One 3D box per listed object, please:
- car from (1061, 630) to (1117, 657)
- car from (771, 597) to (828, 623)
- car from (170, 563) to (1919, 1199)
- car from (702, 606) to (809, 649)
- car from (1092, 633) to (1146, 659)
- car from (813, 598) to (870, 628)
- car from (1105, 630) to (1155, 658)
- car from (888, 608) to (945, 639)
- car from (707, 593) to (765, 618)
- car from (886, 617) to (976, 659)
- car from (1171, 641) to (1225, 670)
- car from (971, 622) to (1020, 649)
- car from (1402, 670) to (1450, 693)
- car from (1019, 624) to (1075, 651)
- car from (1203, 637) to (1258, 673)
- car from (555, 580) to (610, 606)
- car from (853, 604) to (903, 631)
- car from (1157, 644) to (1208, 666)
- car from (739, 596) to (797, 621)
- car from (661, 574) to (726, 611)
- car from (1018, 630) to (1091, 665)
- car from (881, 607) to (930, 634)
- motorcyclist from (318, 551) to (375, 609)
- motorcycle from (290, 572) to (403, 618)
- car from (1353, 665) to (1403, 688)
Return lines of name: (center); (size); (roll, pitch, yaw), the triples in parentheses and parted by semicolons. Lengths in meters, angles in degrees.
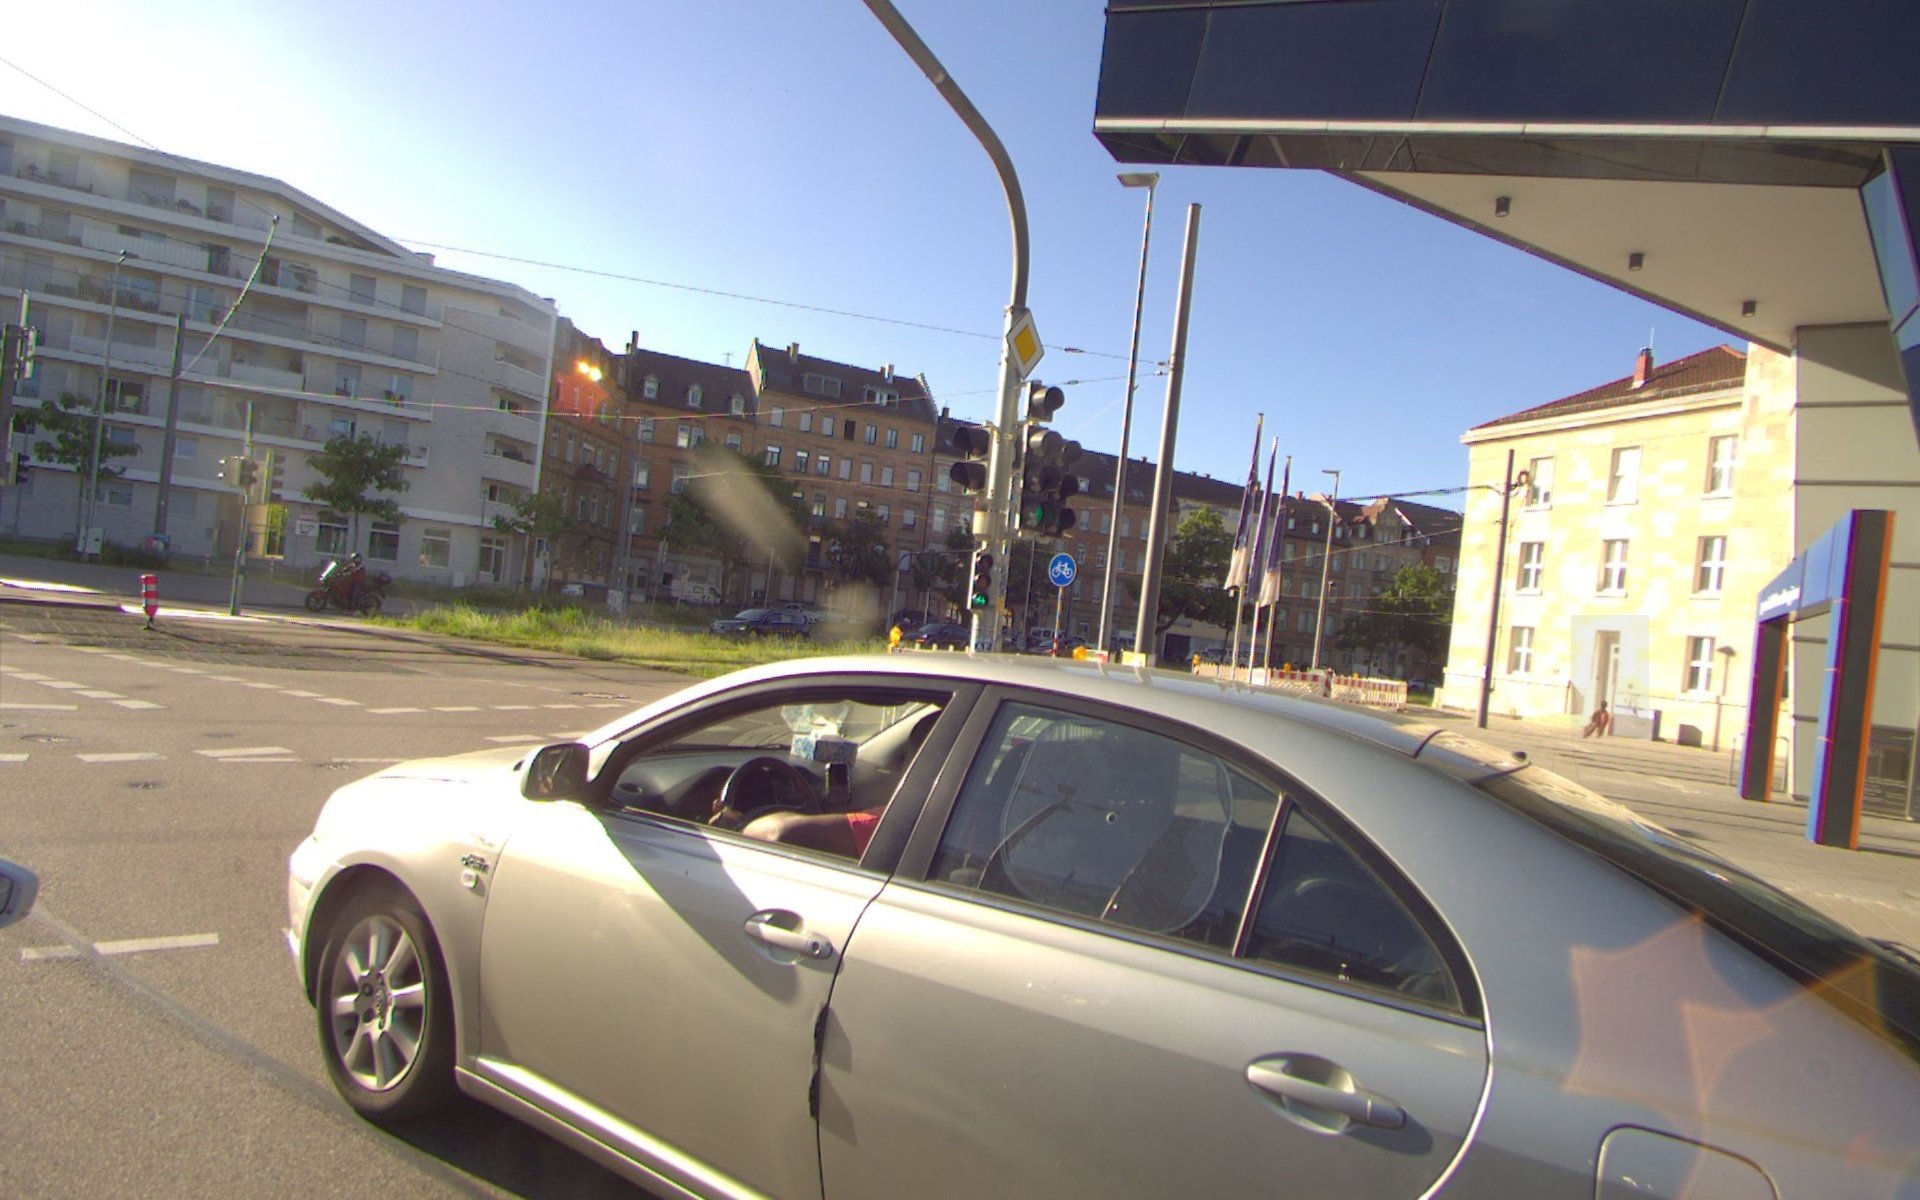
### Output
car: (10.632, 3.588, 82.966); (3.934, 1.794, 1.995); (5, 0, 32)
car: (-11.753, 0.747, 73.675); (3.945, 1.504, 1.990); (5, -1, 41)
car: (0.007, 0.889, 2.719); (4.551, 1.499, 1.749); (6, -1, 31)
car: (-7.958, 1.116, 39.500); (1.740, 1.416, 4.249); (2, -3, 29)
car: (13.431, 3.902, 85.171); (3.934, 1.794, 1.995); (5, 0, 32)
car: (-8.886, 0.948, 75.039); (3.945, 1.794, 1.990); (5, 0, 41)
car: (16.167, 4.174, 95.600); (4.133, 2.217, 1.989); (6, 0, -24)
car: (-3.725, 2.063, 86.817); (4.358, 2.217, 1.987); (6, 0, -27)
car: (-15.812, 0.358, 71.025); (3.945, 1.371, 1.990); (5, -1, 41)
car: (-1.342, 1.883, 49.167); (1.969, 1.637, 4.529); (6, -1, 35)
car: (20.734, 4.805, 87.653); (3.940, 1.795, 1.991); (11, 3, 40)
car: (2.830, 2.806, 80.439); (1.978, 1.798, 3.969); (5, -1, -31)
car: (45.928, 8.017, 99.168); (3.939, 1.794, 1.993); (5, 0, 36)
car: (7.010, 3.011, 81.321); (3.934, 1.794, 1.995); (5, 0, 32)
car: (24.087, 4.886, 89.577); (3.940, 2.439, 1.991); (12, 4, 39)
car: (-25.520, -0.450, 68.094); (1.962, 1.504, 4.001); (5, -1, 3)
car: (-6.490, 1.349, 79.169); (1.982, 1.794, 3.962); (6, -1, -36)
car: (21.611, 5.343, 97.783); (4.352, 1.743, 1.990); (6, 0, -23)
car: (-13.856, 0.620, 72.445); (3.945, 1.371, 1.990); (5, -1, 41)
car: (-20.925, -0.587, 78.925); (4.537, 2.338, 1.991); (7, -1, -20)
car: (5.512, 2.766, 58.285); (4.076, 1.637, 1.975); (7, -1, -45)
car: (-4.394, 1.639, 80.237); (1.981, 1.794, 3.962); (6, -1, -36)
motorcyclist: (-17.492, -0.579, 28.678); (1.154, 1.499, 0.924); (6, 0, 38)
motorcycle: (-17.505, -0.125, 28.740); (1.154, 1.012, 2.452); (6, -1, 38)
car: (40.160, 7.367, 96.706); (3.939, 1.794, 1.993); (5, 0, 36)
